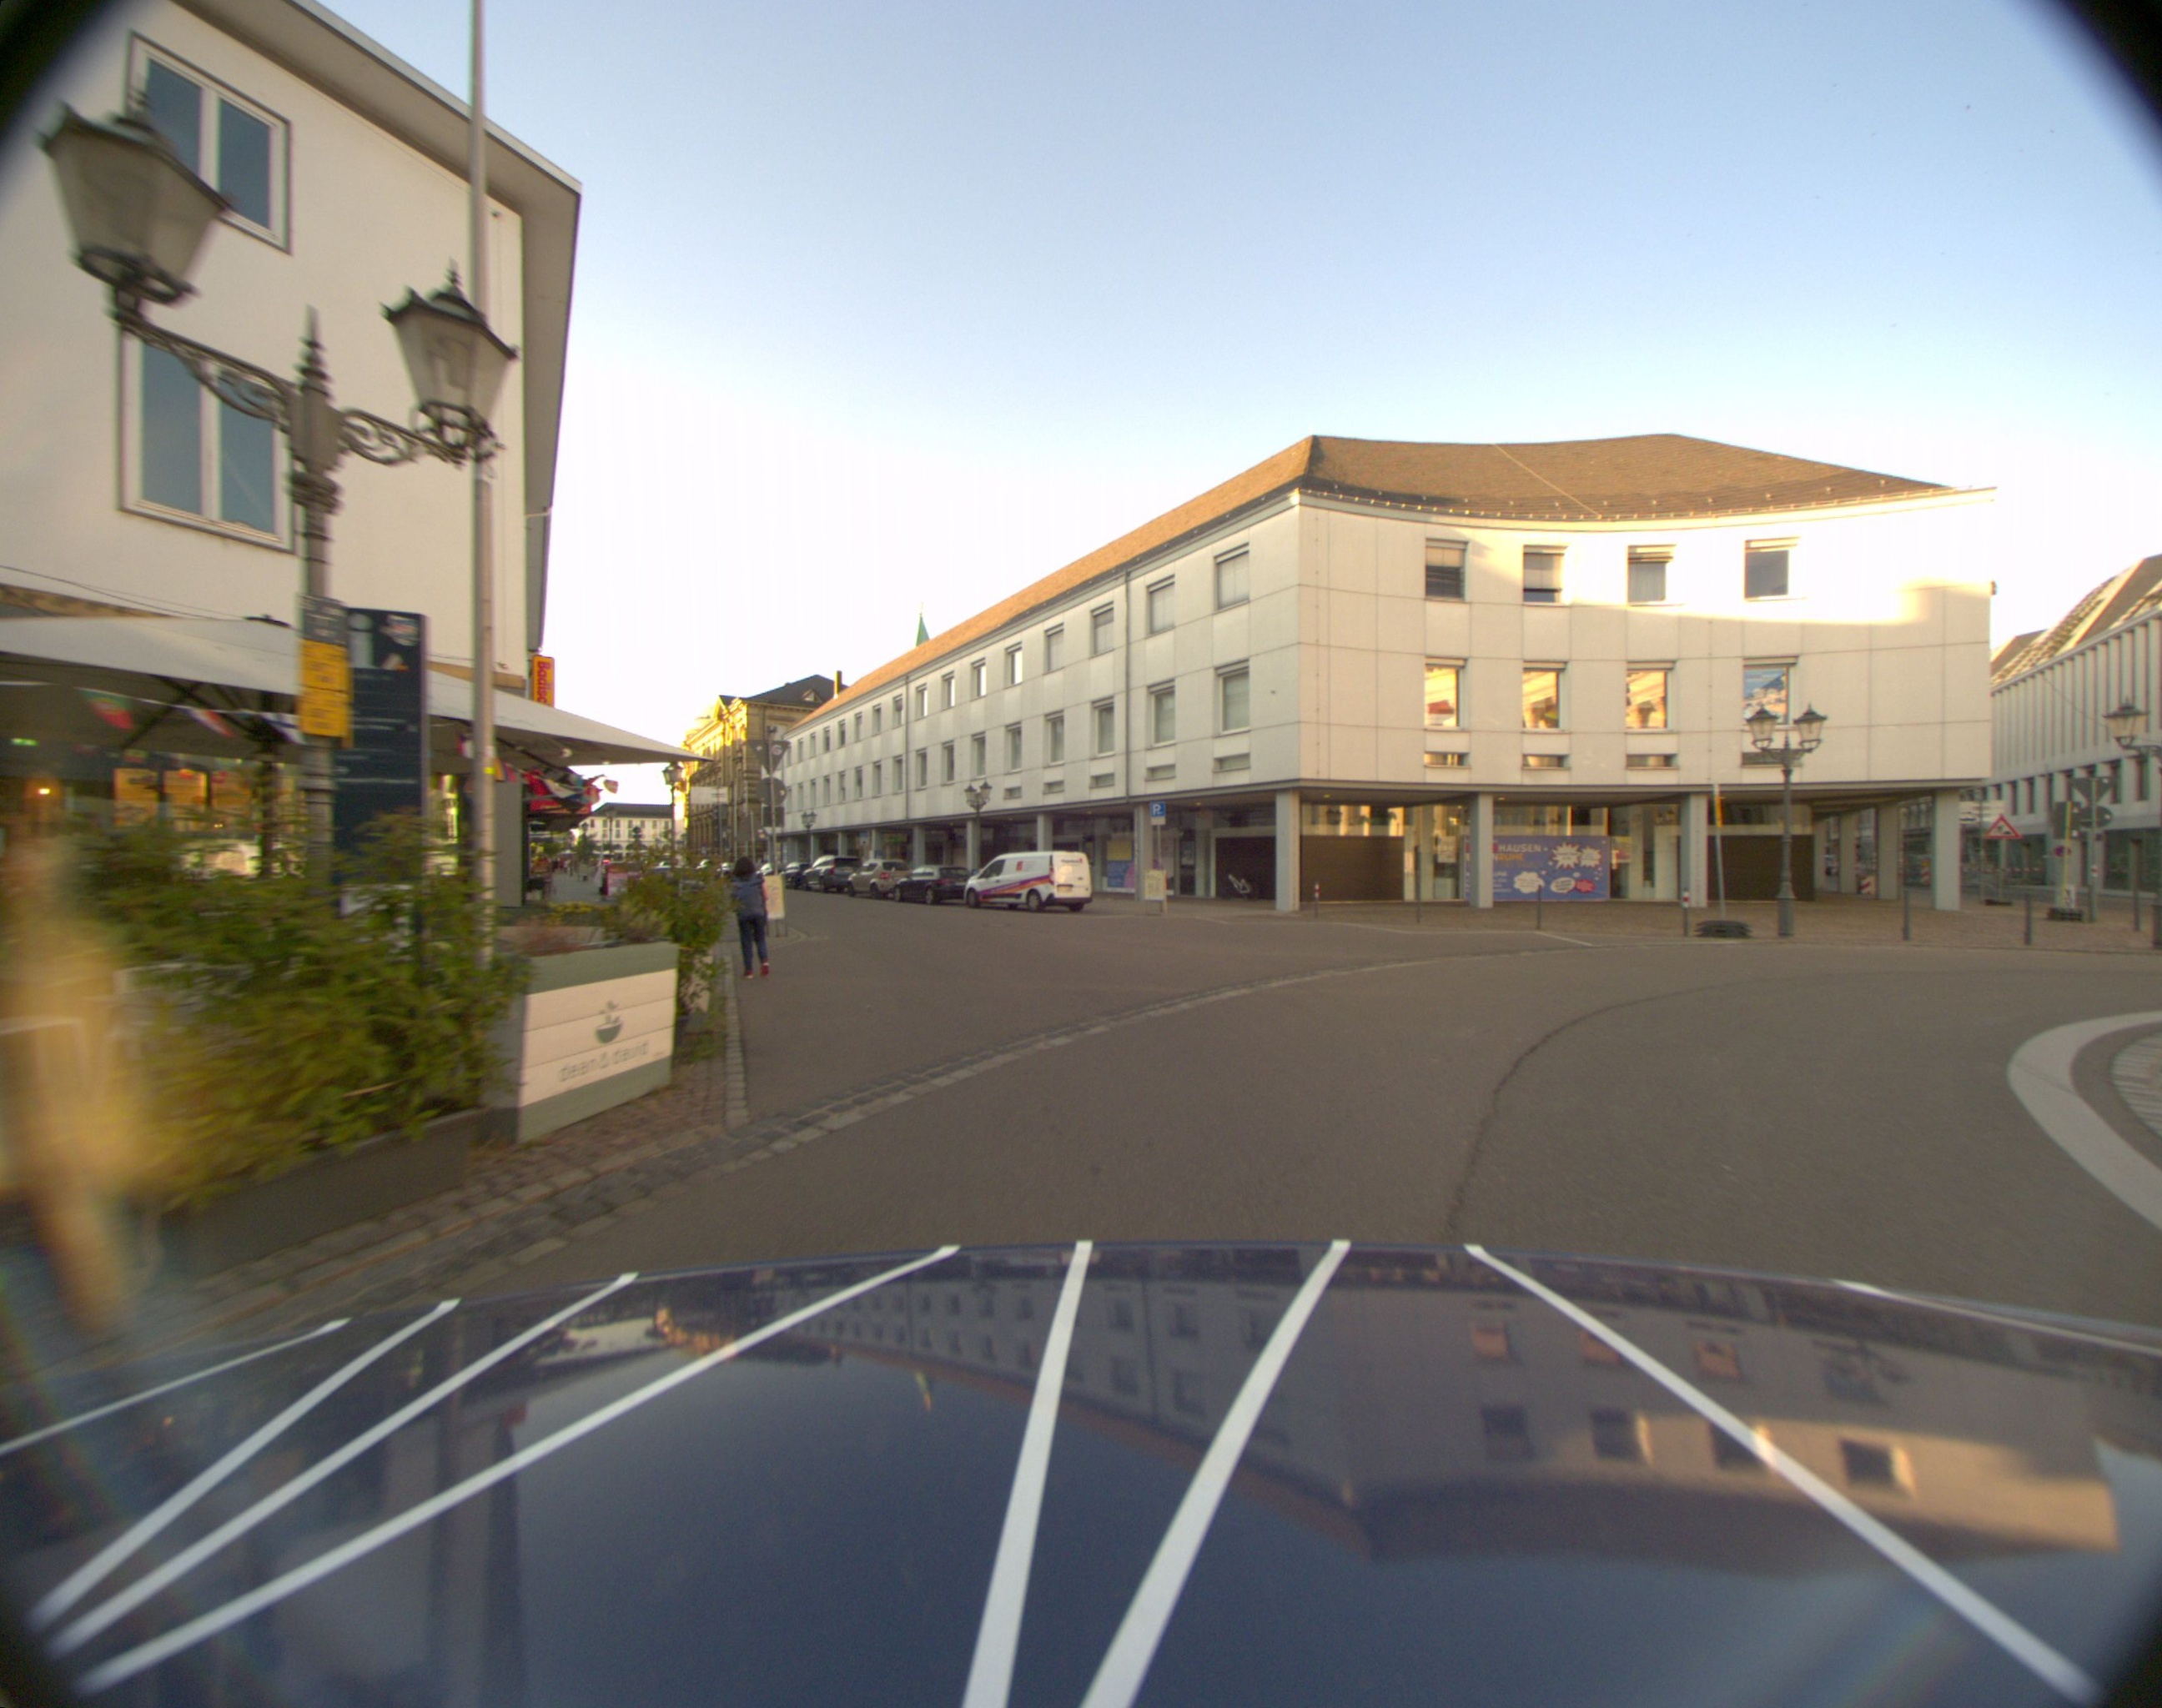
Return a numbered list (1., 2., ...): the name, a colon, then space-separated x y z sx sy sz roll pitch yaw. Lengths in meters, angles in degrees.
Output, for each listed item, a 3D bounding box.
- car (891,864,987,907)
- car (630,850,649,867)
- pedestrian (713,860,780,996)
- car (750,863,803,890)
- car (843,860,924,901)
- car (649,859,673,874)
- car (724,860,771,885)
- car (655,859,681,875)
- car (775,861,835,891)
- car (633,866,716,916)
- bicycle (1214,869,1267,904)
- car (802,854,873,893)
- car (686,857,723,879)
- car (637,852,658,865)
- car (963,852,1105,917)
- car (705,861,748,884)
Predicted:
1. car: -5.209 1.083 27.573 1.786 1.416 3.950 0 0 -38
2. car: -58.187 0.556 100.089 1.786 2.214 4.317 -1 0 -36
3. pedestrian: -4.383 0.928 9.954 0.605 1.691 0.711 -1 1 -42
4. car: -18.111 1.286 45.051 1.786 1.483 4.316 -1 0 -38
5. car: -8.164 1.028 31.234 1.786 1.506 3.950 -1 0 -38
6. car: -47.099 1.350 85.210 1.786 1.657 4.317 -1 0 -36
7. car: -21.728 1.186 49.445 1.786 1.483 4.316 -1 0 -38
8. car: -43.621 1.342 80.210 1.786 1.657 4.317 -1 0 -36
9. car: -14.977 1.143 41.112 1.786 1.483 4.316 -1 0 -38
10. car: -13.209 1.117 24.596 1.786 1.416 3.950 0 0 -37
11. bicycle: 5.473 1.099 26.227 0.482 1.149 1.944 -1 0 -37
12. car: -11.665 0.877 36.231 1.786 1.718 4.316 -1 0 -38
13. car: -29.712 1.053 59.933 1.786 1.657 4.316 -1 0 -38
14. car: -54.427 0.559 95.312 1.786 1.657 4.317 -1 0 -36
15. car: -1.552 0.851 23.682 2.026 1.815 4.447 -1 0 -43
16. car: -24.990 1.262 53.486 1.786 1.483 4.316 -1 0 -38
